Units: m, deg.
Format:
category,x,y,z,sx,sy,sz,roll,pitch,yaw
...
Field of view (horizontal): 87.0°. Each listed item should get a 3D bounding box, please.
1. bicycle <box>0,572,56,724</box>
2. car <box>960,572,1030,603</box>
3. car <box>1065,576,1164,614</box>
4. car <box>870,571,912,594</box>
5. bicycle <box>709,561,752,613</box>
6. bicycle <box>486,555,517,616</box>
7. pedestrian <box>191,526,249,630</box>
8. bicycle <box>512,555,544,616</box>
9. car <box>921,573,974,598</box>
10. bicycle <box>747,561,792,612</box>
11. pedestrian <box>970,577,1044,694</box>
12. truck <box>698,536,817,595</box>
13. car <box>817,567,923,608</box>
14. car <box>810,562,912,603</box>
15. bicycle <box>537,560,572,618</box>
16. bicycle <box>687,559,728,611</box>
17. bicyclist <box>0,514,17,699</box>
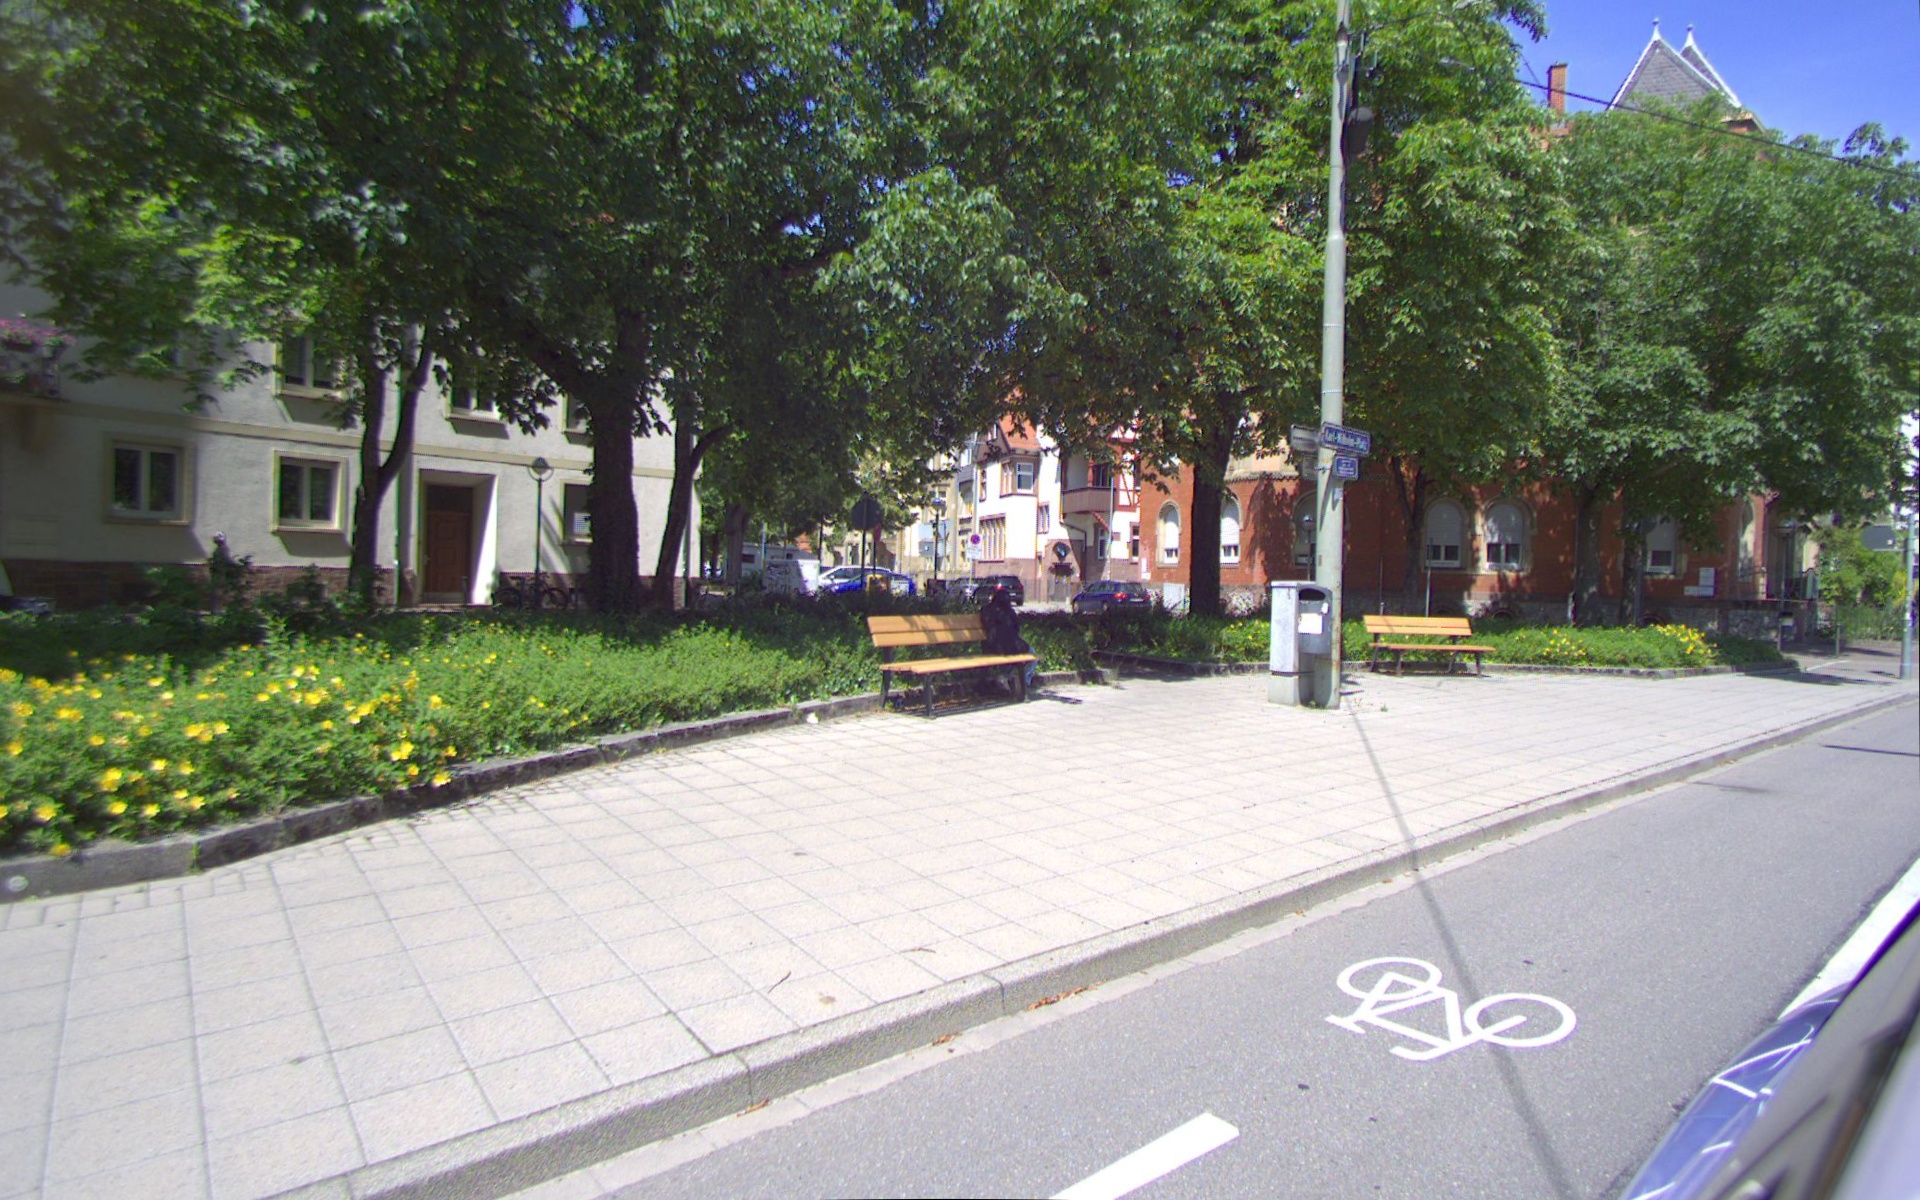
category,x,y,z,sx,sy,sz,roll,pitch,yaw
bicycle,-9.843,0.481,9.468,0.584,1.504,2.161,1,1,11
car,1.821,-0.707,54.520,1.946,1.551,5.503,0,1,-19
car,6.203,-0.253,41.165,1.865,1.459,4.769,0,1,-21
car,-5.103,-1.304,74.509,1.865,1.575,4.411,0,1,-21
bicycle,-6.078,-0.359,26.723,0.536,1.316,2.162,0,1,-28
bicycle,-10.744,-0.349,23.706,0.505,1.361,2.332,0,1,-28
pedestrian,-14.947,-0.438,20.444,0.803,2.039,0.762,1,1,38
bicycle,-10.237,-0.349,23.941,0.505,1.364,2.247,0,1,-28
car,-0.859,-0.913,63.569,1.865,1.482,4.626,0,1,-21
bicycle,-5.129,-0.377,27.155,0.536,1.316,2.162,0,1,-28
pedestrian,0.464,0.343,10.034,0.469,1.105,0.511,2,2,-34
truck,-12.104,-2.033,60.491,6.685,3.193,1.939,2,0,-19
car,-3.572,-0.503,39.997,3.807,1.447,1.731,2,0,-21
car,-4.405,-0.771,45.200,4.176,1.673,1.731,2,0,-21
bicycle,-9.596,-0.273,23.930,0.536,1.316,2.162,0,1,-28
bicycle,-6.642,-0.401,26.519,0.536,1.316,2.162,0,1,-28
bicyclist,-9.756,0.066,9.900,0.594,1.822,0.532,1,1,11
